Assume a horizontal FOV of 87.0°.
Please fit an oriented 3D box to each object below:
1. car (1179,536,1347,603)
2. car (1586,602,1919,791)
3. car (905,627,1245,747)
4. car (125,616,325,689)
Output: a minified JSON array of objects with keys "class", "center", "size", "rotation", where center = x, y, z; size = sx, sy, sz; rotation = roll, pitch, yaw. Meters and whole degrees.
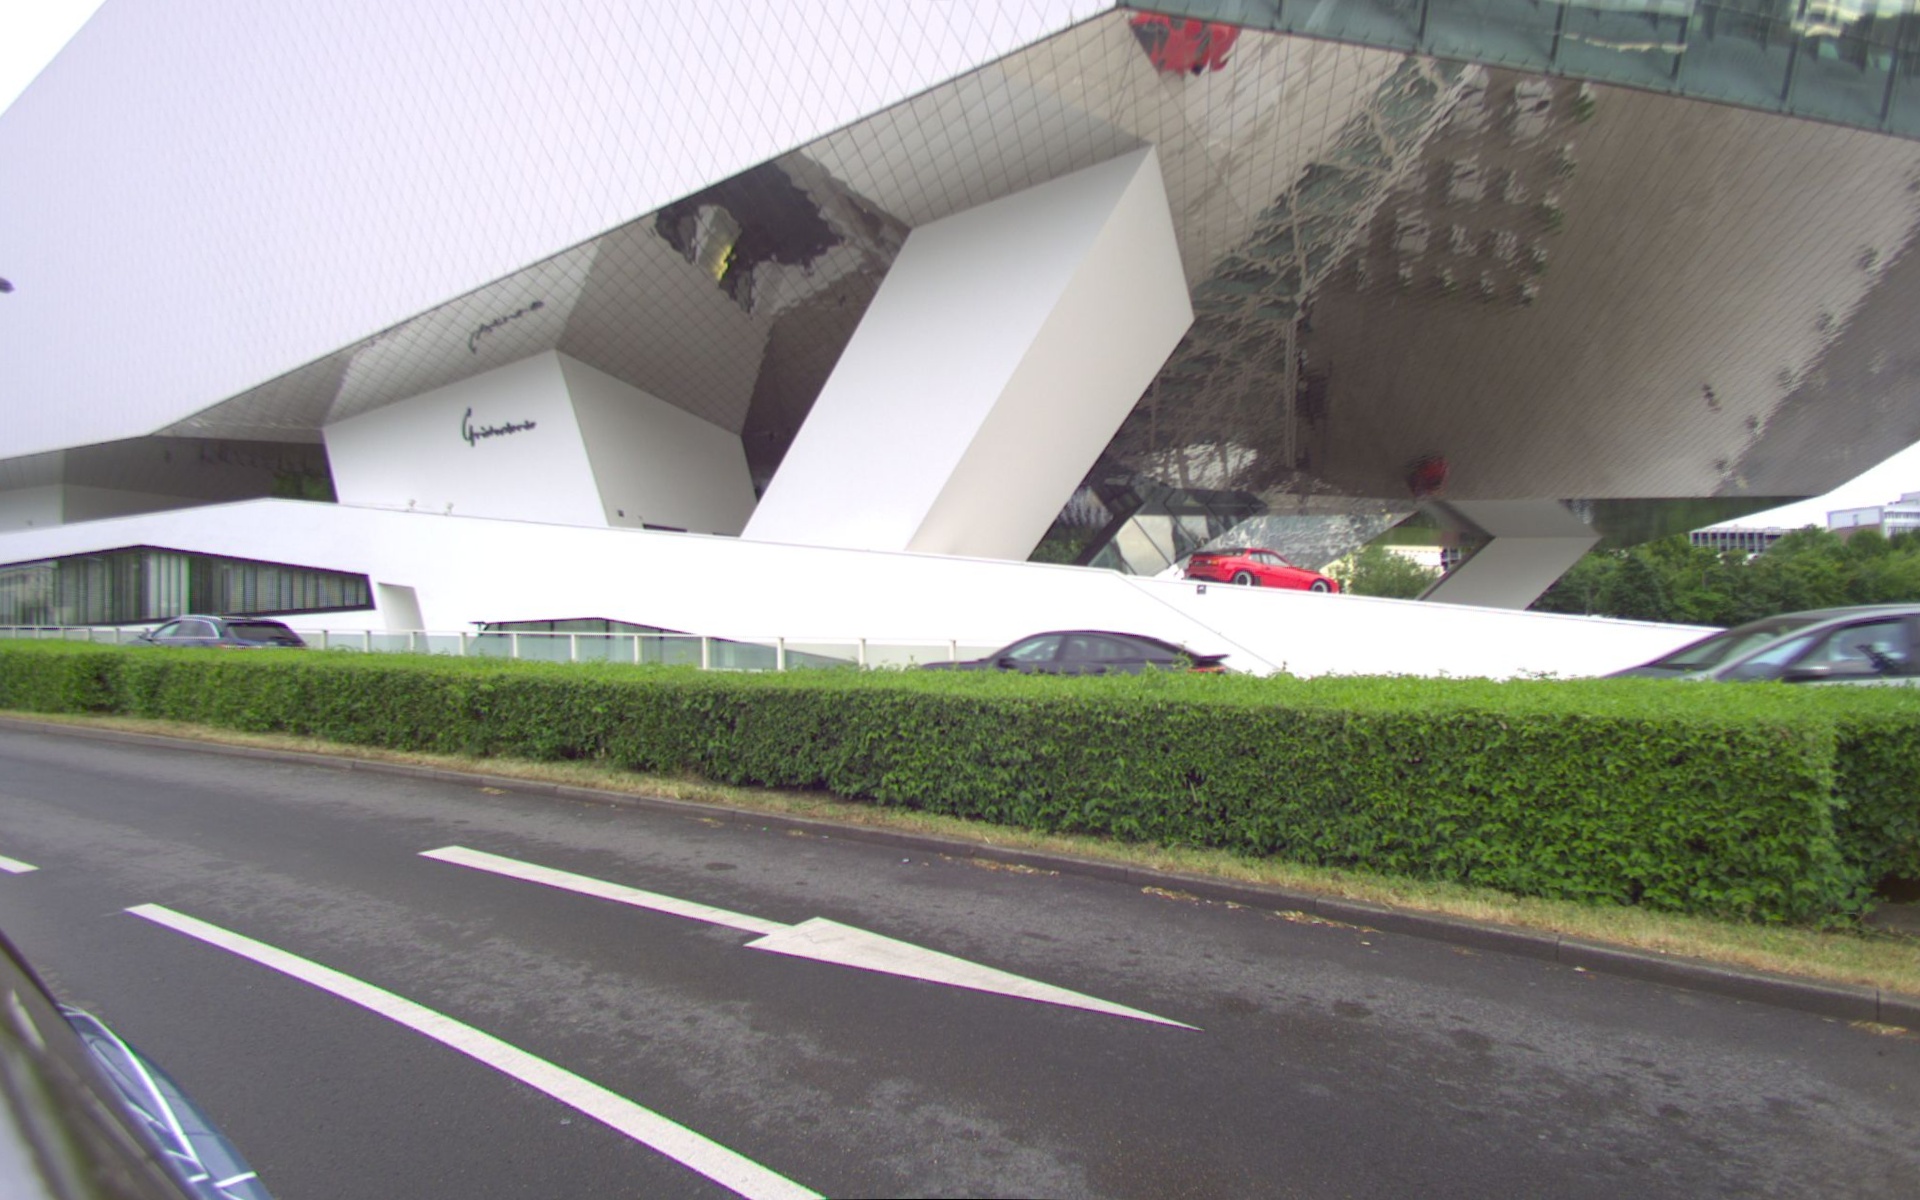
[{"class":"car","center":[8.246,-0.789,27.576],"size":[4.032,1.252,1.643],"rotation":[7,-4,-15]},{"class":"car","center":[8.070,0.788,8.919],"size":[3.967,1.505,1.828],"rotation":[-1,-2,18]},{"class":"car","center":[1.623,1.153,14.368],"size":[4.484,1.483,1.825],"rotation":[-1,-2,23]},{"class":"car","center":[-14.875,1.023,20.450],"size":[3.984,1.348,1.832],"rotation":[-1,-2,30]}]
